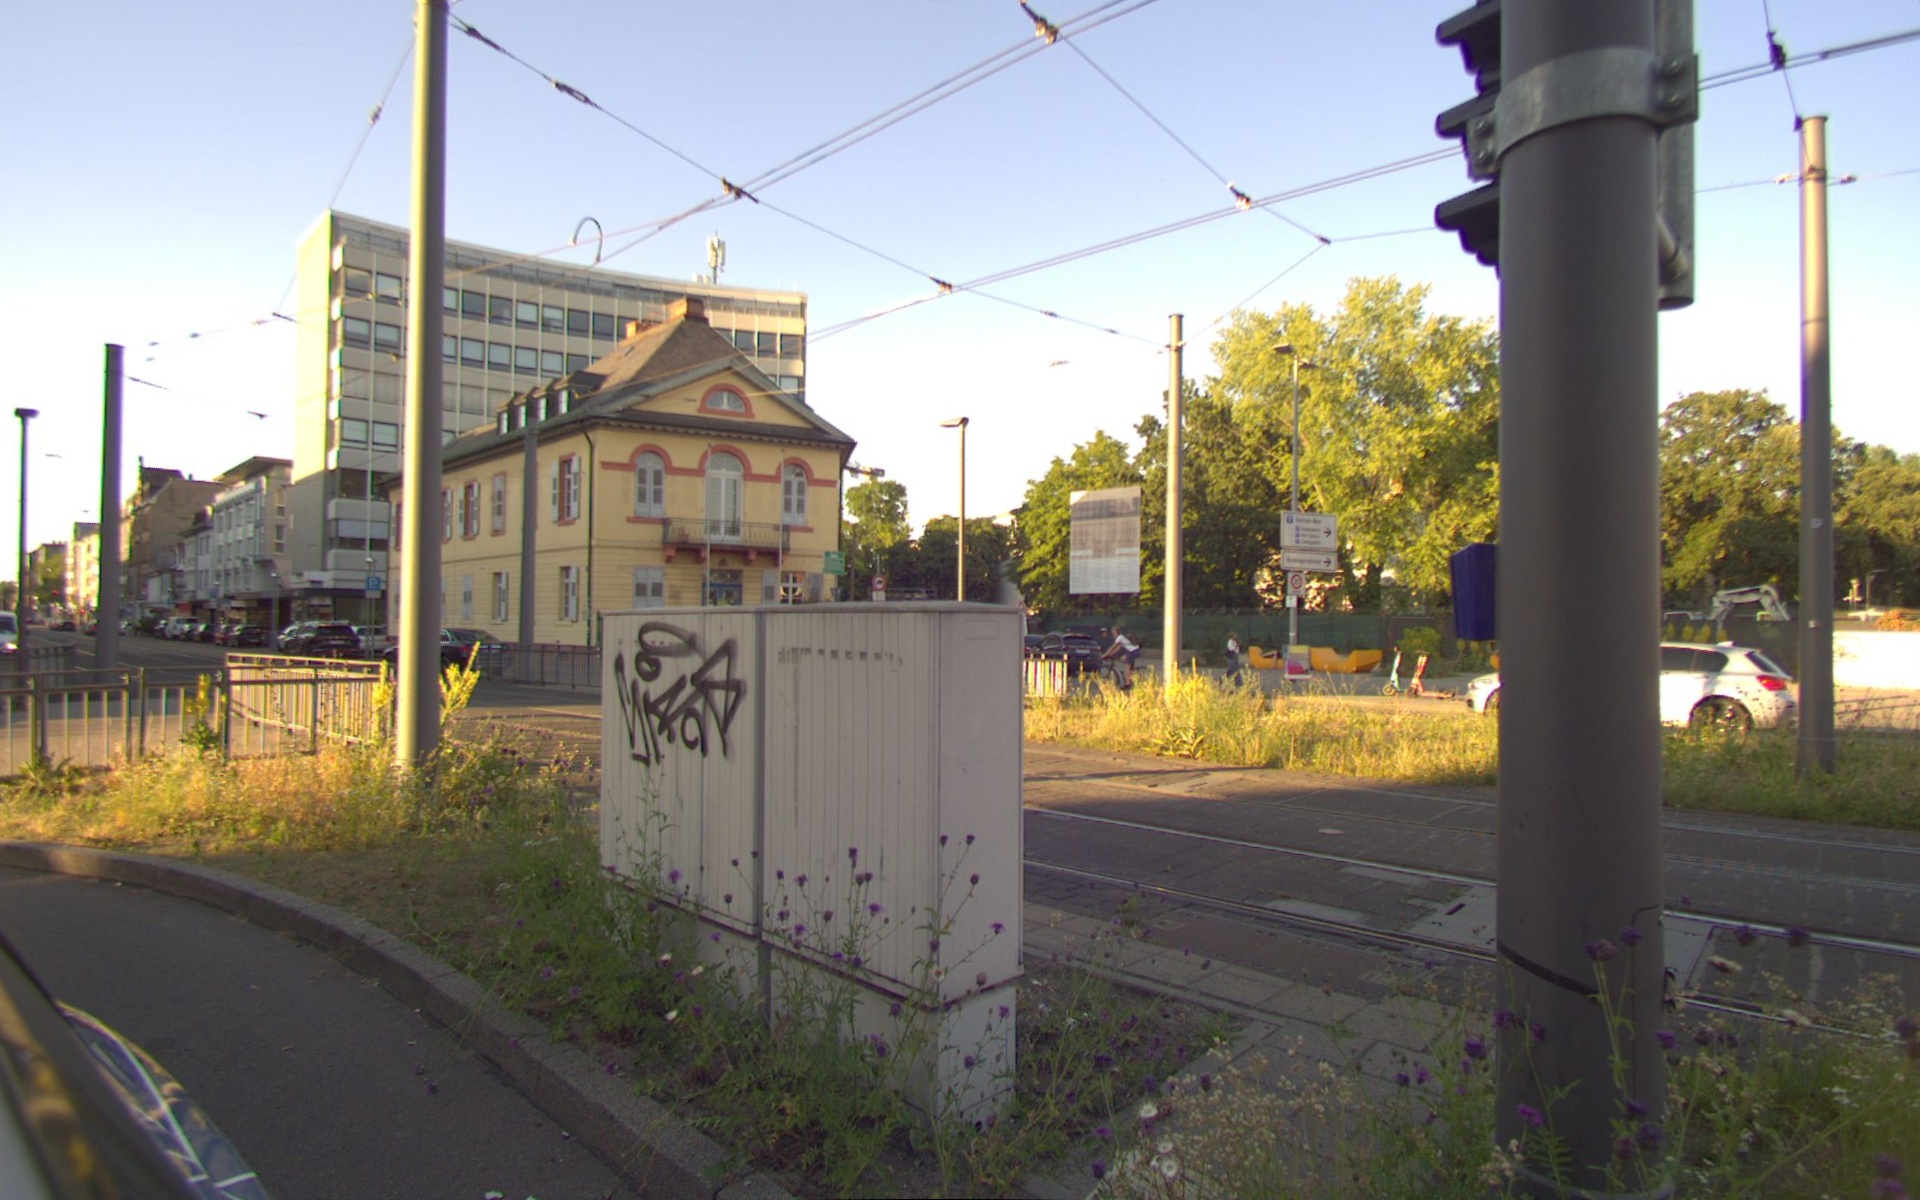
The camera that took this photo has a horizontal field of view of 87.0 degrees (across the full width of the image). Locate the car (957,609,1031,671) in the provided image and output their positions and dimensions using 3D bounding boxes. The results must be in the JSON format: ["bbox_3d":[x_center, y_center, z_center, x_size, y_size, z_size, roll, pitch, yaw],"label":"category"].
[{"bbox_3d":[1.439,1.791,45.640,2.063,2.650,5.438,1,-2,-12],"label":"car"}]

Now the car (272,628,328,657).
[{"bbox_3d":[-36.026,2.303,55.184,1.791,1.523,4.436,3,-3,-43],"label":"car"}]

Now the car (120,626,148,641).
[{"bbox_3d":[-89.643,3.646,109.801,1.970,1.556,4.882,1,-2,-44],"label":"car"}]

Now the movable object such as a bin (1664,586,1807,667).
[{"bbox_3d":[32.752,1.143,42.859,1.966,3.254,4.357,2,-2,-31],"label":"movable object such as a bin"}]

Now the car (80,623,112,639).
[{"bbox_3d":[-86.296,3.079,101.112,4.031,1.523,1.718,-1,-3,39],"label":"car"}]

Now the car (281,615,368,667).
[{"bbox_3d":[-24.830,1.588,39.445,1.970,1.916,4.816,3,-3,-43],"label":"car"}]

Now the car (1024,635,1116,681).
[{"bbox_3d":[3.767,1.977,35.400,1.967,1.497,4.010,1,-2,-13],"label":"car"}]

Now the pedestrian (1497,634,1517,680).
[{"bbox_3d":[20.055,2.098,37.128,0.597,1.671,0.531,-1,-3,26],"label":"pedestrian"}]

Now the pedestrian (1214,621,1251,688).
[{"bbox_3d":[7.935,1.582,29.504,0.717,1.907,0.768,1,-2,-21],"label":"pedestrian"}]

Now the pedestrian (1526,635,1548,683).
[{"bbox_3d":[20.541,2.086,35.999,0.599,1.671,0.529,-1,-3,37],"label":"pedestrian"}]

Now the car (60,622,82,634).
[{"bbox_3d":[-119.843,3.758,136.400,1.970,1.564,4.003,2,-3,-44],"label":"car"}]

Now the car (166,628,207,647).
[{"bbox_3d":[-61.253,2.932,80.094,4.560,1.477,1.971,-2,-2,44],"label":"car"}]

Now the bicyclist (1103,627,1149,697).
[{"bbox_3d":[4.121,1.520,25.093,0.975,1.701,0.658,-1,-3,29],"label":"bicyclist"}]

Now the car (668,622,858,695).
[{"bbox_3d":[-4.711,1.355,24.210,4.089,1.597,1.983,0,-2,25],"label":"car"}]

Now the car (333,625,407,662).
[{"bbox_3d":[-27.621,2.005,47.339,4.214,1.629,1.793,-1,-3,42],"label":"car"}]

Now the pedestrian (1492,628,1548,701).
[{"bbox_3d":[14.630,1.667,26.444,0.871,1.882,0.978,2,-3,-37],"label":"pedestrian"}]

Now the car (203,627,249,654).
[{"bbox_3d":[-49.807,2.724,68.665,1.667,1.522,4.218,16,-12,-43],"label":"car"}]

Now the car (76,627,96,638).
[{"bbox_3d":[-128.551,4.812,148.839,1.970,1.564,4.002,2,-2,-45],"label":"car"}]

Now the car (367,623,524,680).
[{"bbox_3d":[-15.338,1.495,30.131,4.568,1.597,1.980,-1,-3,30],"label":"car"}]

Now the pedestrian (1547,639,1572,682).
[{"bbox_3d":[21.086,2.123,35.606,0.625,1.507,0.632,-2,-3,44],"label":"pedestrian"}]

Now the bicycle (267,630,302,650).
[{"bbox_3d":[-49.485,2.959,74.158,0.834,1.436,1.946,-2,-3,43],"label":"bicycle"}]

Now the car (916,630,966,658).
[{"bbox_3d":[-1.084,2.426,55.844,1.967,1.497,4.104,1,-2,-13],"label":"car"}]

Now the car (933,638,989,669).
[{"bbox_3d":[-0.005,2.667,51.130,1.967,1.497,4.104,1,-2,-13],"label":"car"}]

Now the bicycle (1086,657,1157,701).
[{"bbox_3d":[4.004,1.941,25.126,1.616,1.016,0.662,-1,-3,29],"label":"bicycle"}]

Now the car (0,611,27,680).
[{"bbox_3d":[-27.104,1.218,27.832,1.970,1.830,4.003,3,-3,-44],"label":"car"}]

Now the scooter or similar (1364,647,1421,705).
[{"bbox_3d":[11.047,1.937,25.857,1.236,1.457,0.518,1,-2,-8],"label":"scooter or similar"}]

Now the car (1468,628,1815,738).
[{"bbox_3d":[10.285,1.164,15.495,4.201,1.459,1.651,-1,-3,43],"label":"car"}]

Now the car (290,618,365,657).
[{"bbox_3d":[-32.001,1.886,51.157,4.492,1.799,1.795,-1,1,39],"label":"car"}]

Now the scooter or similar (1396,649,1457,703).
[{"bbox_3d":[11.560,1.872,25.096,1.240,1.282,0.516,0,-2,6],"label":"scooter or similar"}]

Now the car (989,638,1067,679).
[{"bbox_3d":[2.632,2.276,40.130,1.967,1.497,4.104,1,-2,-13],"label":"car"}]

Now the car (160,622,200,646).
[{"bbox_3d":[-66.104,2.858,85.698,5.164,1.992,1.933,-2,-3,44],"label":"car"}]
